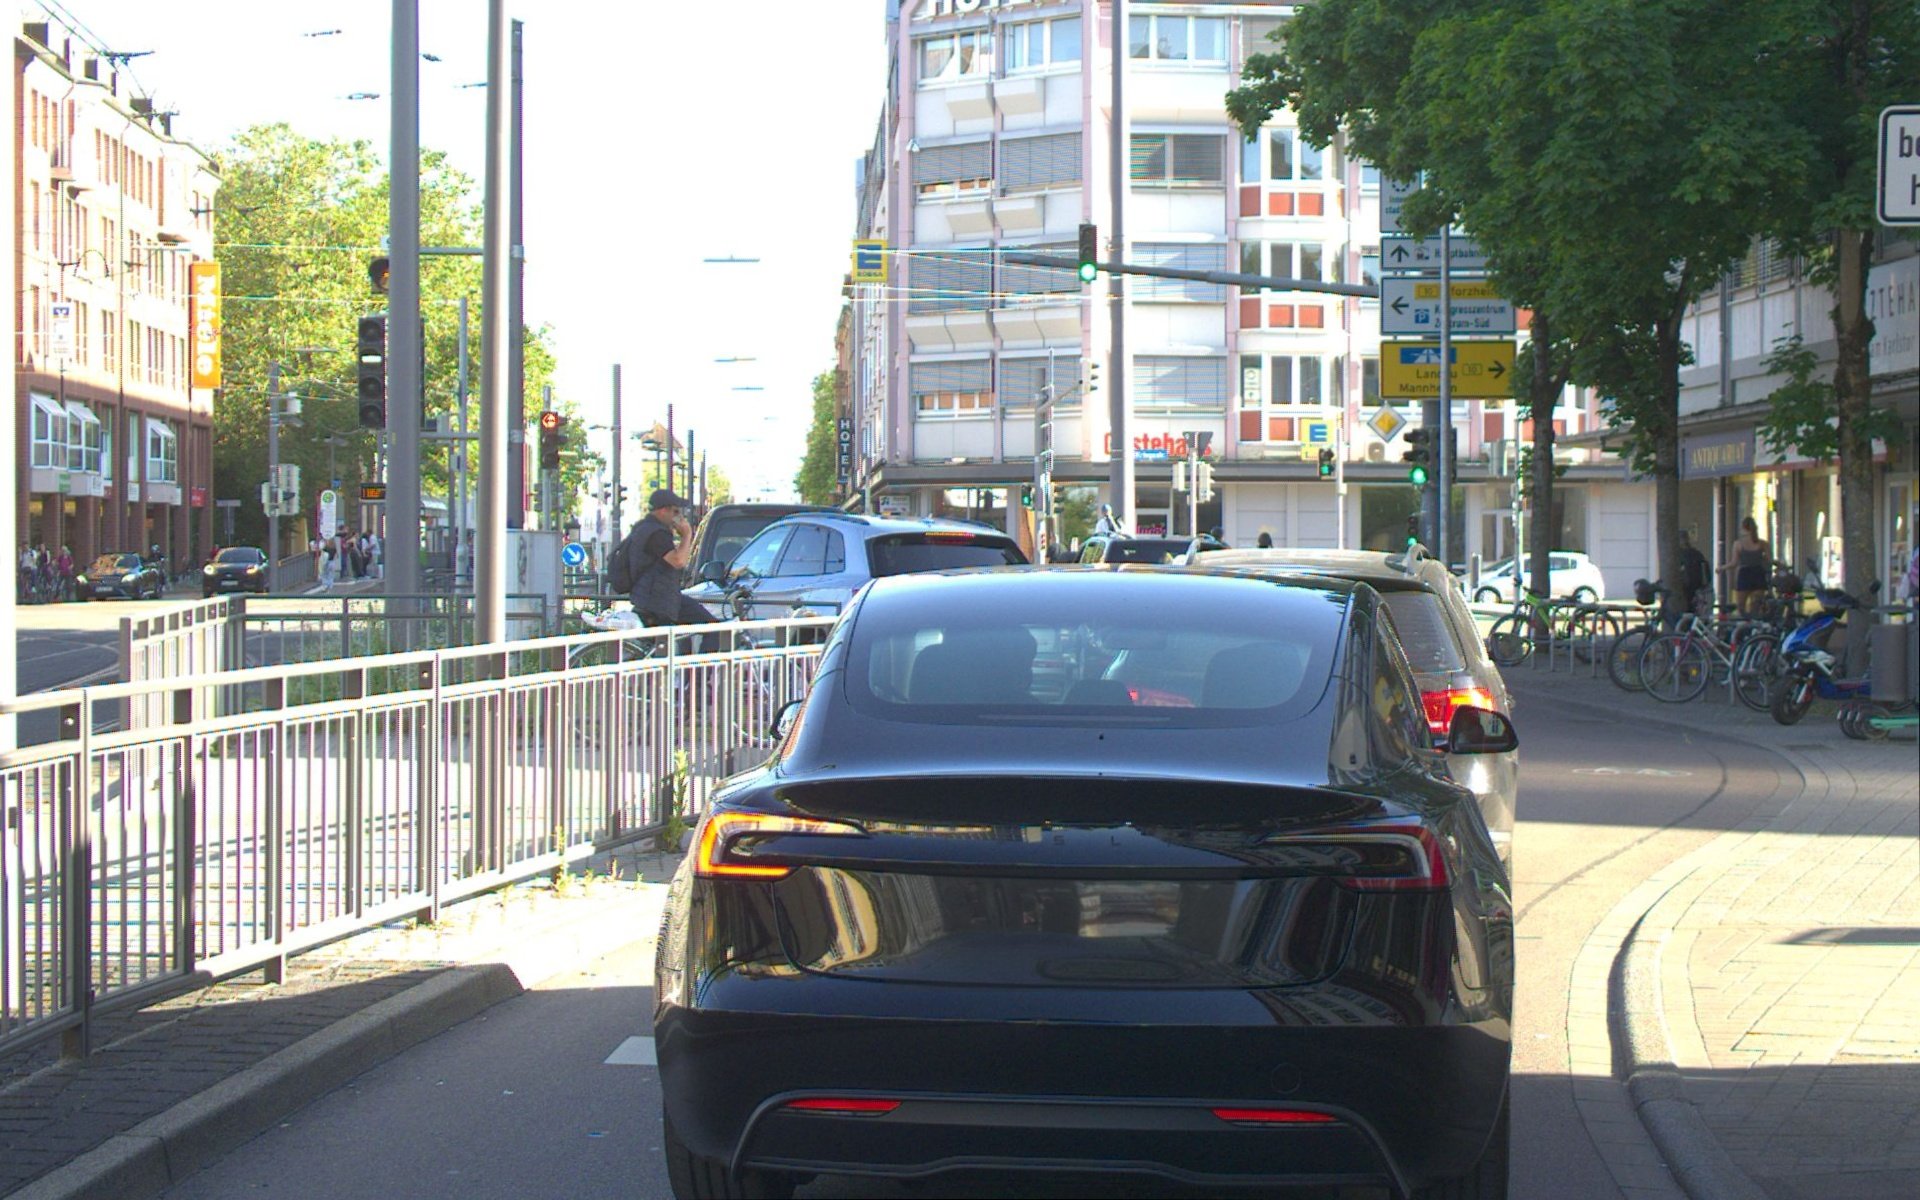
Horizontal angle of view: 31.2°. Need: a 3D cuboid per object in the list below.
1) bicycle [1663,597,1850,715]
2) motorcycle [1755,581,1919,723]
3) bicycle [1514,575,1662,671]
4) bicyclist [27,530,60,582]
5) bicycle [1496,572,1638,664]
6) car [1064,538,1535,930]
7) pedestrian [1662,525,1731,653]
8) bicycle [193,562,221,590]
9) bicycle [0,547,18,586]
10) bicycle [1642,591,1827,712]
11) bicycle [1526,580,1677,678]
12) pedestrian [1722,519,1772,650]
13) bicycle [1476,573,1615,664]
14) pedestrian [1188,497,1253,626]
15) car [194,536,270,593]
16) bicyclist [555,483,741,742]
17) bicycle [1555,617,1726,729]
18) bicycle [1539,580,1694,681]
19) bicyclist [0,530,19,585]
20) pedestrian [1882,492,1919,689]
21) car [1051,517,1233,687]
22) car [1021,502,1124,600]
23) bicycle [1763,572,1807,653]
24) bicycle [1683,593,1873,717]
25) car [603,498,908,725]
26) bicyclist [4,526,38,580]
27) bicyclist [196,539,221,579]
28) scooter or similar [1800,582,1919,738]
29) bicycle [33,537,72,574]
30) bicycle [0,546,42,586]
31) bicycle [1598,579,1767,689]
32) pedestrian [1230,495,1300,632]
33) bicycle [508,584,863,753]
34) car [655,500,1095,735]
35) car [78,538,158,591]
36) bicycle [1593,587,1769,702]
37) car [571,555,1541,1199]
[{"bbox_3d":[7.287,0.515,31.446,1.649,1.057,0.350,1,0,-10],"label":"bicycle"},{"bbox_3d":[7.712,0.442,29.323,1.707,1.169,0.541,1,0,-2],"label":"motorcycle"},{"bbox_3d":[7.363,0.268,40.338,1.650,1.095,0.350,1,0,1],"label":"bicycle"},{"bbox_3d":[-27.348,-1.314,102.579,0.784,1.558,0.746,0,1,2],"label":"bicyclist"},{"bbox_3d":[7.300,0.211,41.383,1.650,1.095,0.350,0,1,1],"label":"bicycle"},{"bbox_3d":[1.479,0.465,14.974,1.751,1.449,3.999,1,1,6],"label":"car"},{"bbox_3d":[9.587,-0.146,44.780,0.699,1.656,0.777,1,0,-1],"label":"pedestrian"},{"bbox_3d":[-29.369,-0.947,134.060,0.529,1.085,2.224,1,1,1],"label":"bicycle"},{"bbox_3d":[-27.348,-0.949,97.668,0.537,1.085,2.225,1,1,0],"label":"bicycle"},{"bbox_3d":[7.182,0.476,31.870,1.649,1.095,0.350,1,0,-10],"label":"bicycle"},{"bbox_3d":[7.330,0.329,39.325,1.650,1.095,0.350,1,0,1],"label":"bicycle"},{"bbox_3d":[10.308,-0.208,45.022,0.526,1.704,0.403,1,0,-4],"label":"pedestrian"},{"bbox_3d":[7.232,0.221,42.477,1.650,1.095,0.350,1,0,1],"label":"bicycle"},{"bbox_3d":[4.111,-0.611,54.394,0.921,2.007,0.972,1,0,-1],"label":"pedestrian"},{"bbox_3d":[-22.452,-1.093,106.108,1.697,1.725,3.707,1,1,-3],"label":"car"},{"bbox_3d":[-2.022,0.073,22.220,0.758,1.623,0.978,0,1,-39],"label":"bicyclist"},{"bbox_3d":[6.793,0.729,34.316,1.649,1.095,0.350,1,0,-10],"label":"bicycle"},{"bbox_3d":[7.311,0.342,38.298,1.650,1.095,0.350,1,0,1],"label":"bicycle"},{"bbox_3d":[-27.371,-1.218,98.105,0.784,1.558,0.746,1,0,2],"label":"bicyclist"},{"bbox_3d":[9.907,-0.095,35.371,0.662,2.007,0.579,1,0,2],"label":"pedestrian"},{"bbox_3d":[1.968,0.002,38.171,1.598,1.772,3.981,1,1,-3],"label":"car"},{"bbox_3d":[2.060,-0.906,63.793,1.719,1.745,3.754,1,1,-1],"label":"car"},{"bbox_3d":[10.720,0.154,44.698,0.332,1.030,1.256,1,0,4],"label":"bicycle"},{"bbox_3d":[7.384,0.496,31.025,1.649,1.095,0.350,1,0,-10],"label":"bicycle"},{"bbox_3d":[-2.012,0.076,32.617,1.993,2.007,4.001,0,1,-17],"label":"car"},{"bbox_3d":[-27.440,-1.380,100.475,0.784,1.558,0.746,0,1,2],"label":"bicyclist"},{"bbox_3d":[-29.338,-1.598,134.261,0.784,1.558,0.746,1,0,2],"label":"bicyclist"},{"bbox_3d":[7.558,0.472,27.186,1.644,1.211,0.644,1,0,30],"label":"scooter or similar"},{"bbox_3d":[-27.248,-1.335,103.263,0.529,1.085,2.284,0,1,1],"label":"bicycle"},{"bbox_3d":[-27.450,-0.988,100.421,0.529,1.085,2.284,4,-1,1],"label":"bicycle"},{"bbox_3d":[7.419,0.346,35.345,1.650,1.095,0.350,1,0,1],"label":"bicycle"},{"bbox_3d":[4.540,-0.541,51.232,0.921,2.007,0.972,1,0,-1],"label":"pedestrian"},{"bbox_3d":[-1.767,0.432,22.440,2.329,1.050,0.631,0,1,-38],"label":"bicycle"},{"bbox_3d":[-0.752,0.099,26.552,1.883,1.656,4.159,1,1,-25],"label":"car"},{"bbox_3d":[-25.160,-1.062,102.788,1.710,1.521,4.037,1,1,-5],"label":"car"},{"bbox_3d":[7.000,0.433,33.397,1.649,1.095,0.350,1,0,-10],"label":"bicycle"},{"bbox_3d":[0.324,0.635,8.536,1.829,1.450,3.999,1,1,4],"label":"car"}]
